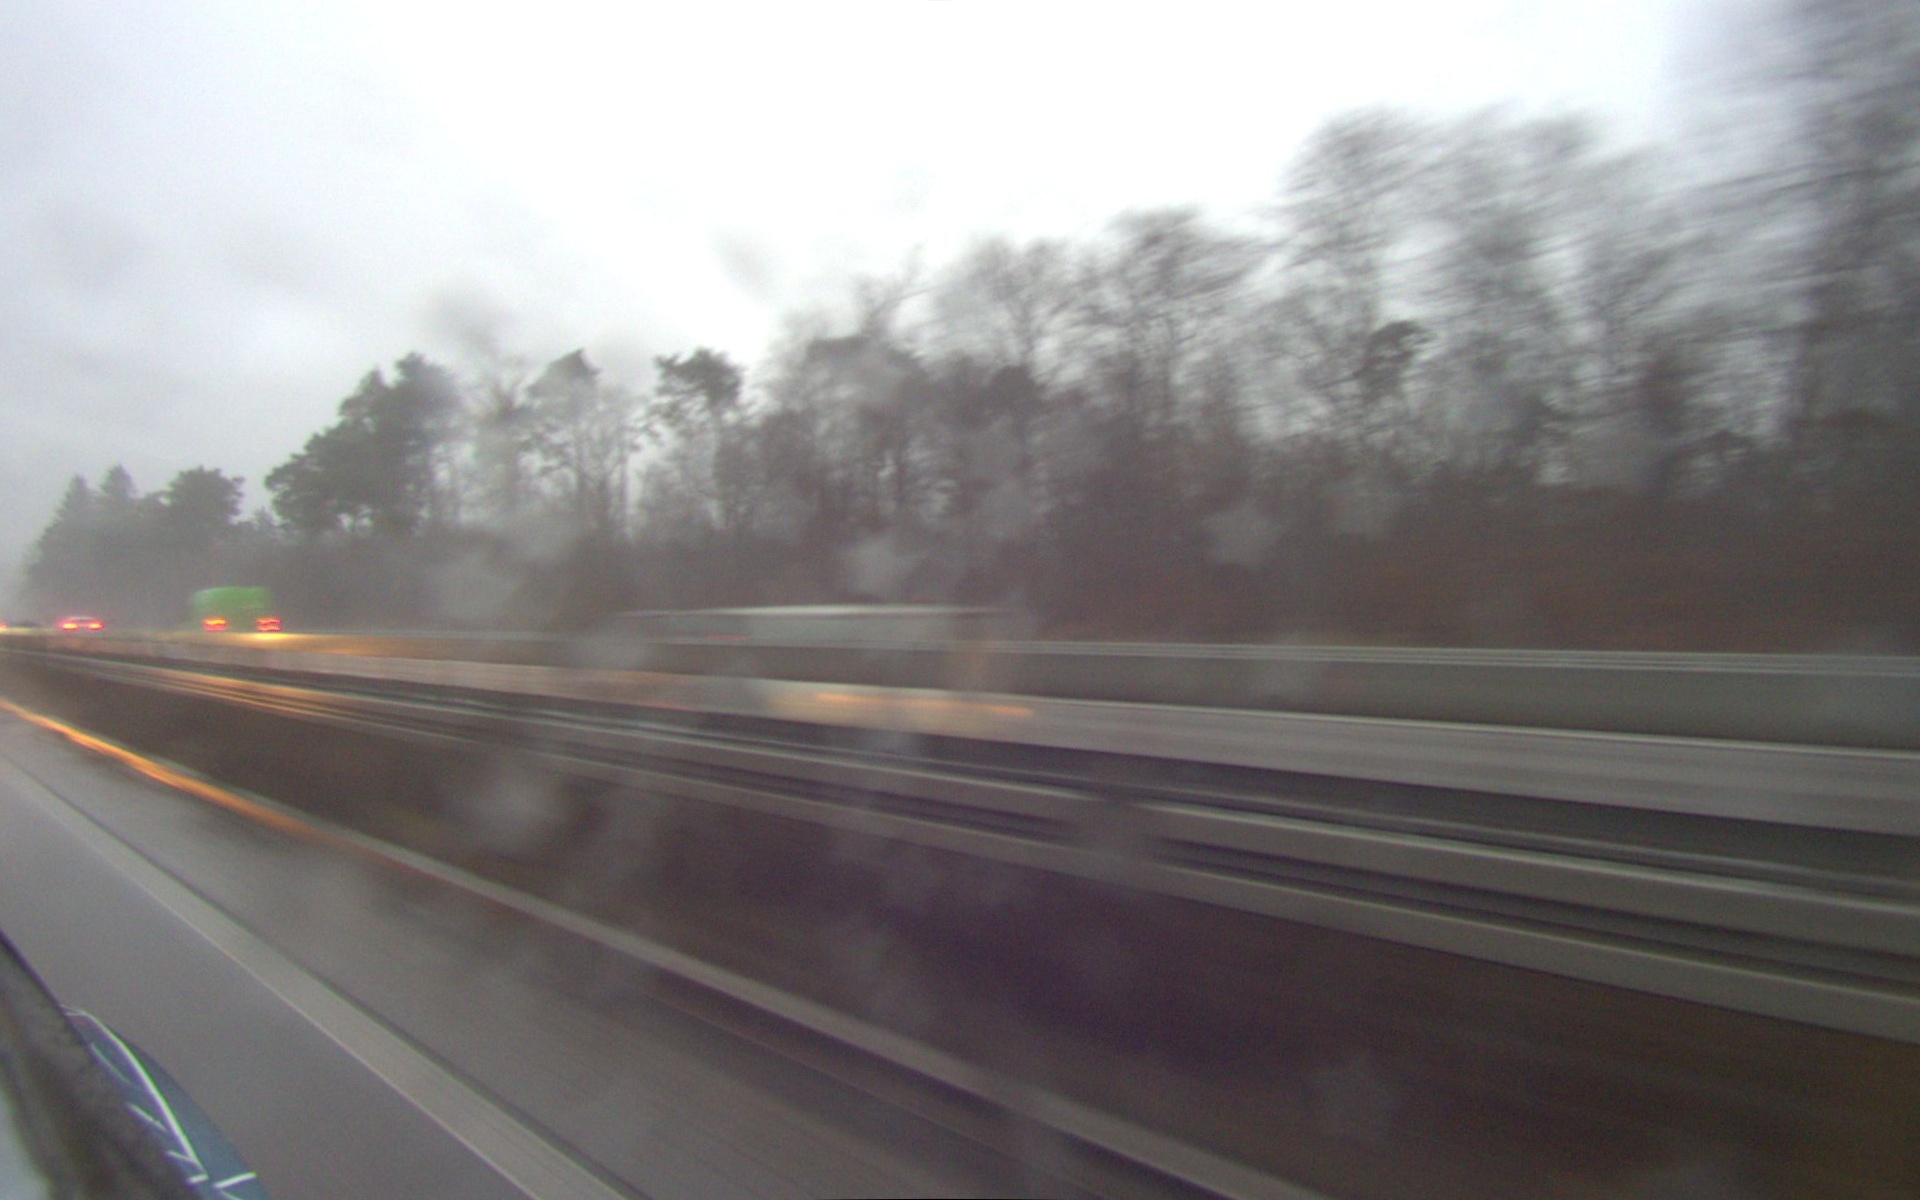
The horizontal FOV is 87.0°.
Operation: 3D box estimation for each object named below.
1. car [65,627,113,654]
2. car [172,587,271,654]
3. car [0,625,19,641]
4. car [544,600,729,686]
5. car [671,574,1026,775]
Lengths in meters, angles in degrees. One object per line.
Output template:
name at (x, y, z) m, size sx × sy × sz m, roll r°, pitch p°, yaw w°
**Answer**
car at (-58.512, 2.669, 67.936) m, size 5.449 × 1.708 × 1.856 m, roll -2°, pitch -1°, yaw 43°
car at (-30.668, 0.859, 41.909) m, size 6.373 × 2.587 × 1.982 m, roll -1°, pitch -1°, yaw 41°
car at (-91.254, 3.120, 96.702) m, size 3.646 × 1.491 × 1.626 m, roll -1°, pitch -1°, yaw 41°
car at (-6.353, 0.764, 19.711) m, size 3.701 × 1.428 × 1.722 m, roll 0°, pitch 3°, yaw 40°
car at (-1.232, 0.650, 10.124) m, size 3.637 × 1.668 × 1.452 m, roll -1°, pitch -1°, yaw 41°
